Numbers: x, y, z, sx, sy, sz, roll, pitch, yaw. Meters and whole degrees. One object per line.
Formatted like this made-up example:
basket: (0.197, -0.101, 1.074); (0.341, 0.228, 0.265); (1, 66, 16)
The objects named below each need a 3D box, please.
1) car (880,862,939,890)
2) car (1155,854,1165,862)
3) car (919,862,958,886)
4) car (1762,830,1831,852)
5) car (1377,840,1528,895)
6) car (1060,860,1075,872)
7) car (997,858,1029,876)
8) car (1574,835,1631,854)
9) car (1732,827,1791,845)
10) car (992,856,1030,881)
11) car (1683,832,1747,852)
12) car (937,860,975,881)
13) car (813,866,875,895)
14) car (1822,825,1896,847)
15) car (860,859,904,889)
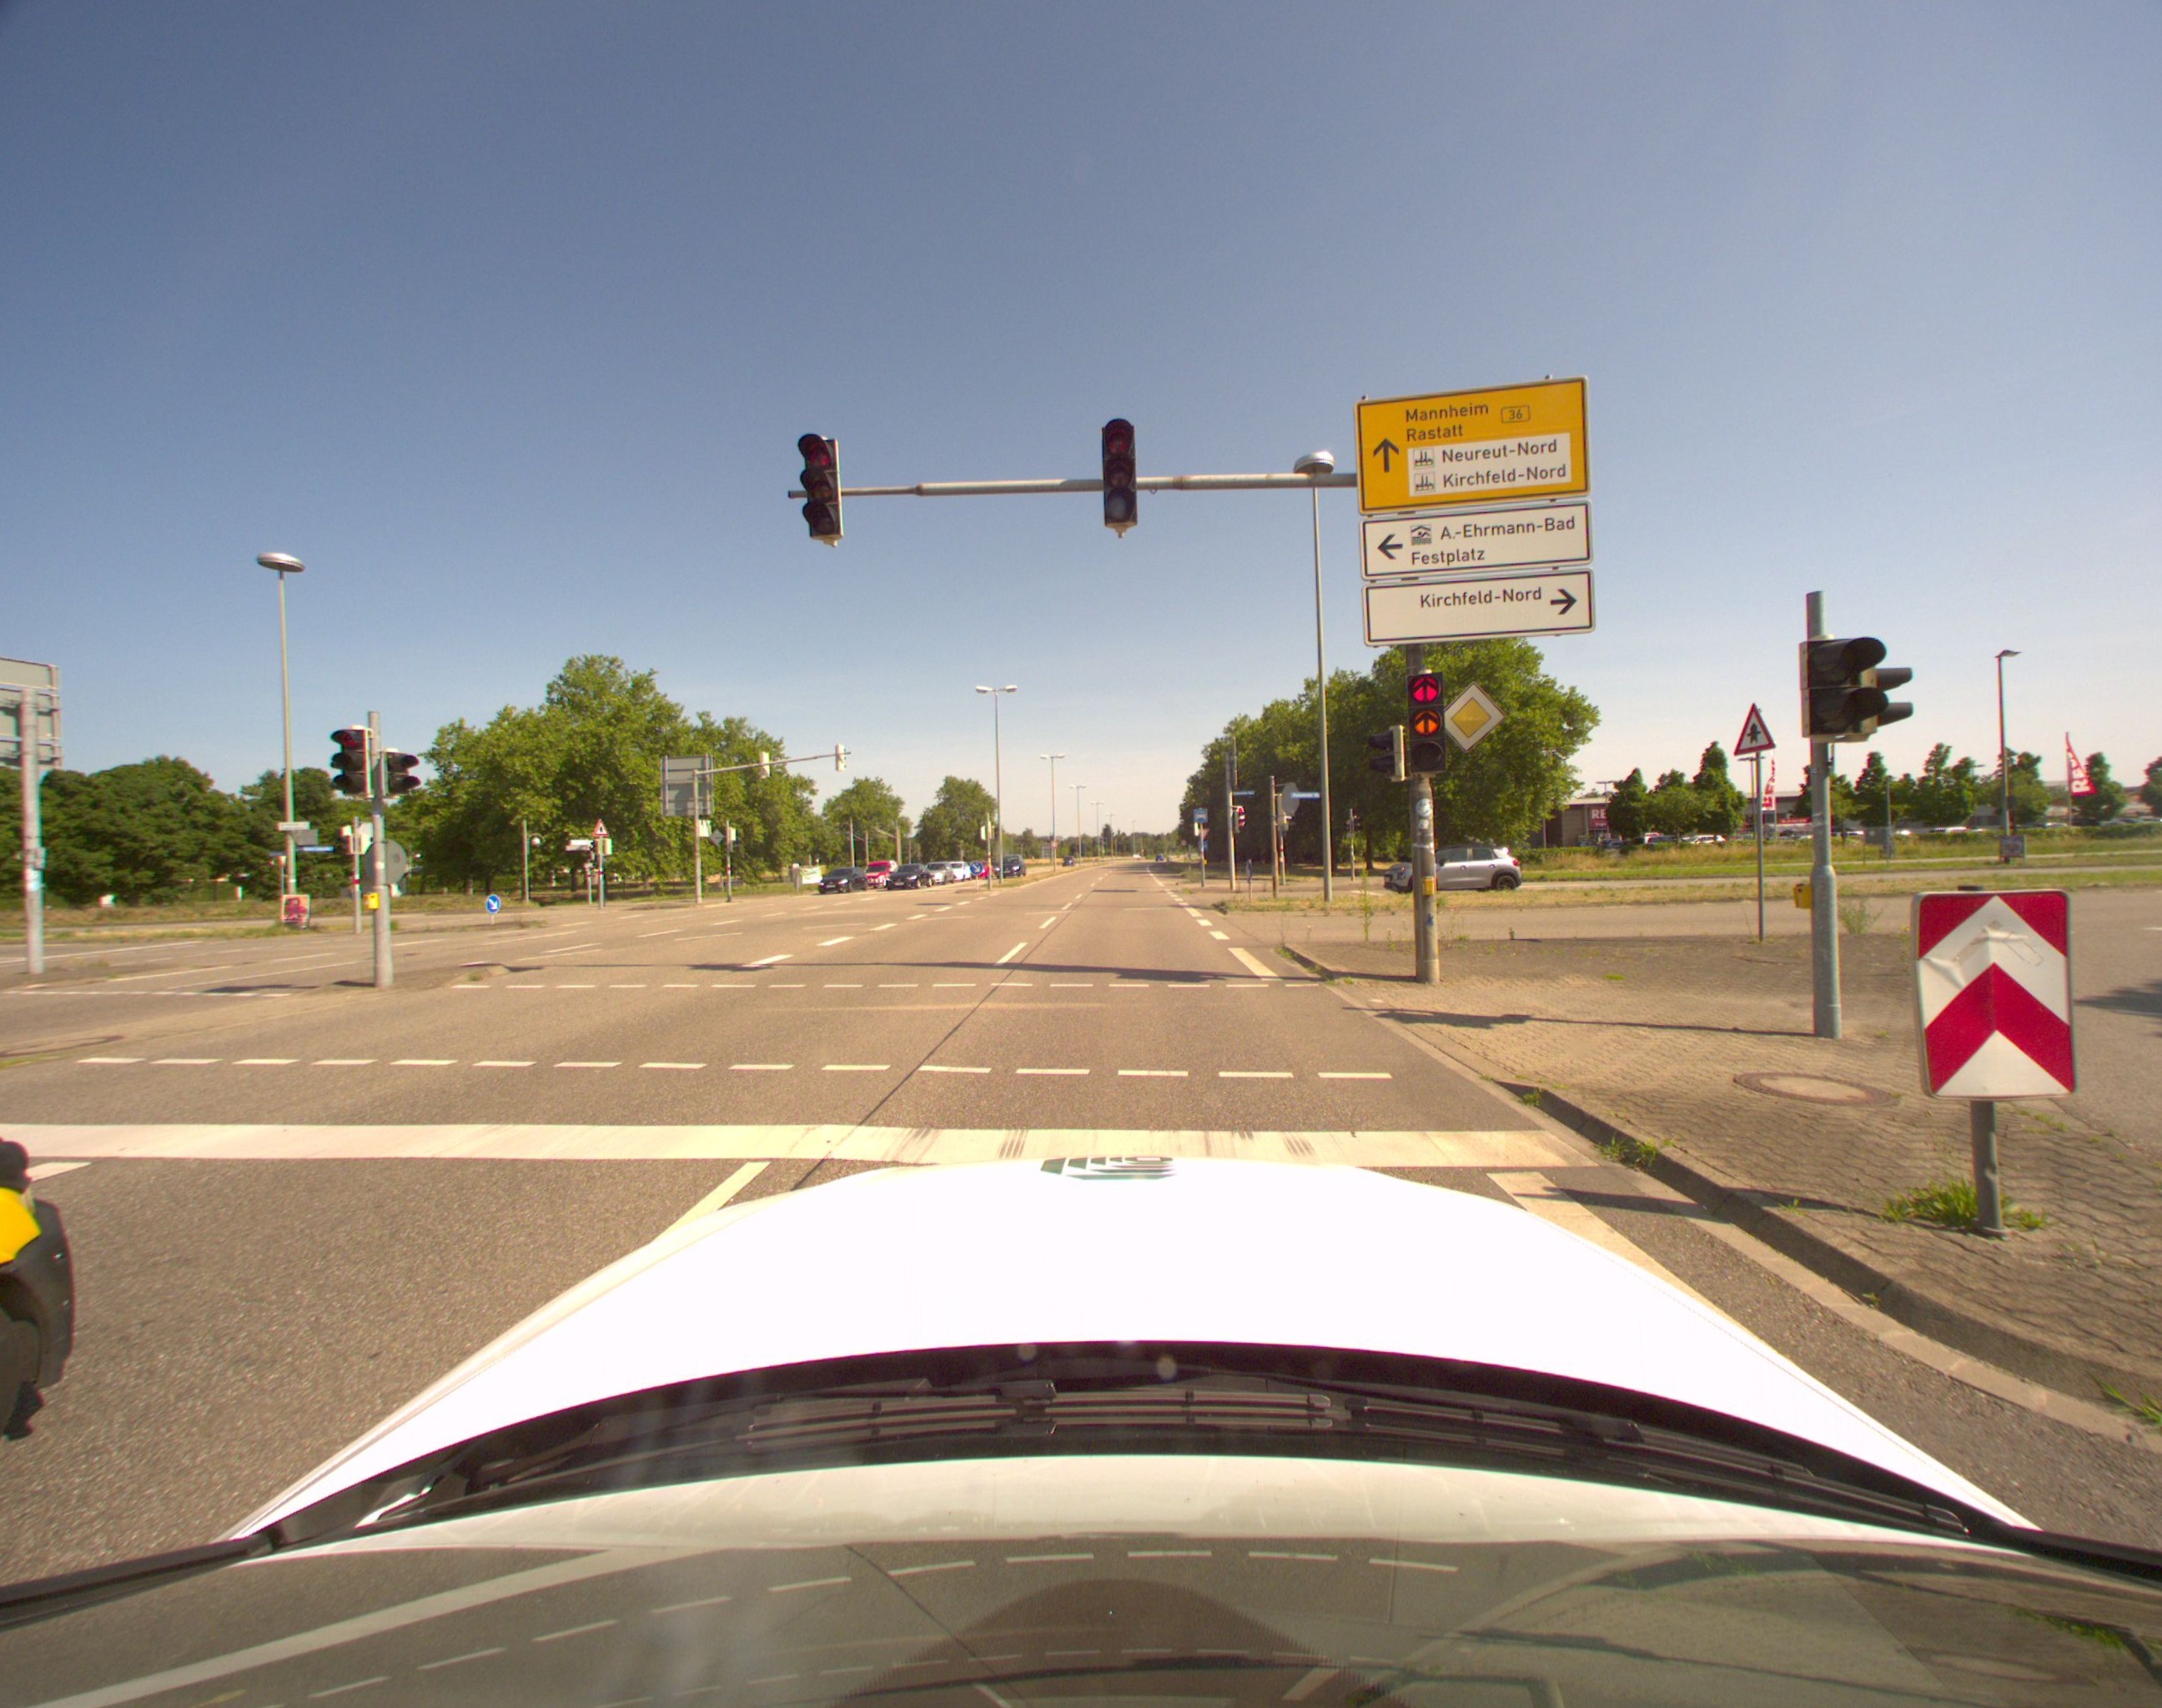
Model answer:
car: (-9.634, 1.208, 46.134); (1.971, 1.457, 4.339); (-2, 0, 6)
car: (17.842, 0.872, 183.862); (1.986, 1.684, 4.001); (-2, 0, 2)
car: (-9.211, 1.288, 53.027); (1.612, 1.457, 3.874); (-2, 0, 3)
car: (61.114, -1.098, 69.639); (3.961, 1.728, 2.006); (-2, 0, 11)
car: (11.817, 0.435, 26.103); (4.035, 1.564, 1.744); (-2, 0, 2)
car: (-2.309, 1.998, 137.806); (1.972, 1.779, 4.495); (-2, 0, 5)
car: (-6.101, 1.143, 73.608); (1.971, 1.457, 4.457); (-2, 0, 6)
car: (54.011, -0.956, 84.415); (4.467, 1.750, 1.992); (-2, 0, 8)
car: (72.925, -1.899, 87.344); (4.460, 1.750, 1.995); (-2, 0, 14)
car: (-5.236, 1.091, 61.426); (1.971, 1.750, 4.515); (-2, 0, 6)
car: (60.759, -1.104, 78.088); (4.467, 1.750, 1.992); (-2, 0, 8)
car: (-9.110, 1.214, 59.635); (1.819, 1.386, 3.849); (-2, 0, 6)
car: (-13.429, 1.453, 46.429); (1.876, 1.457, 4.236); (-2, 0, 6)
car: (70.921, -1.614, 74.293); (4.451, 1.750, 1.999); (-2, 0, 25)
car: (-12.767, 1.270, 52.523); (1.699, 1.769, 4.228); (-3, 0, 0)
